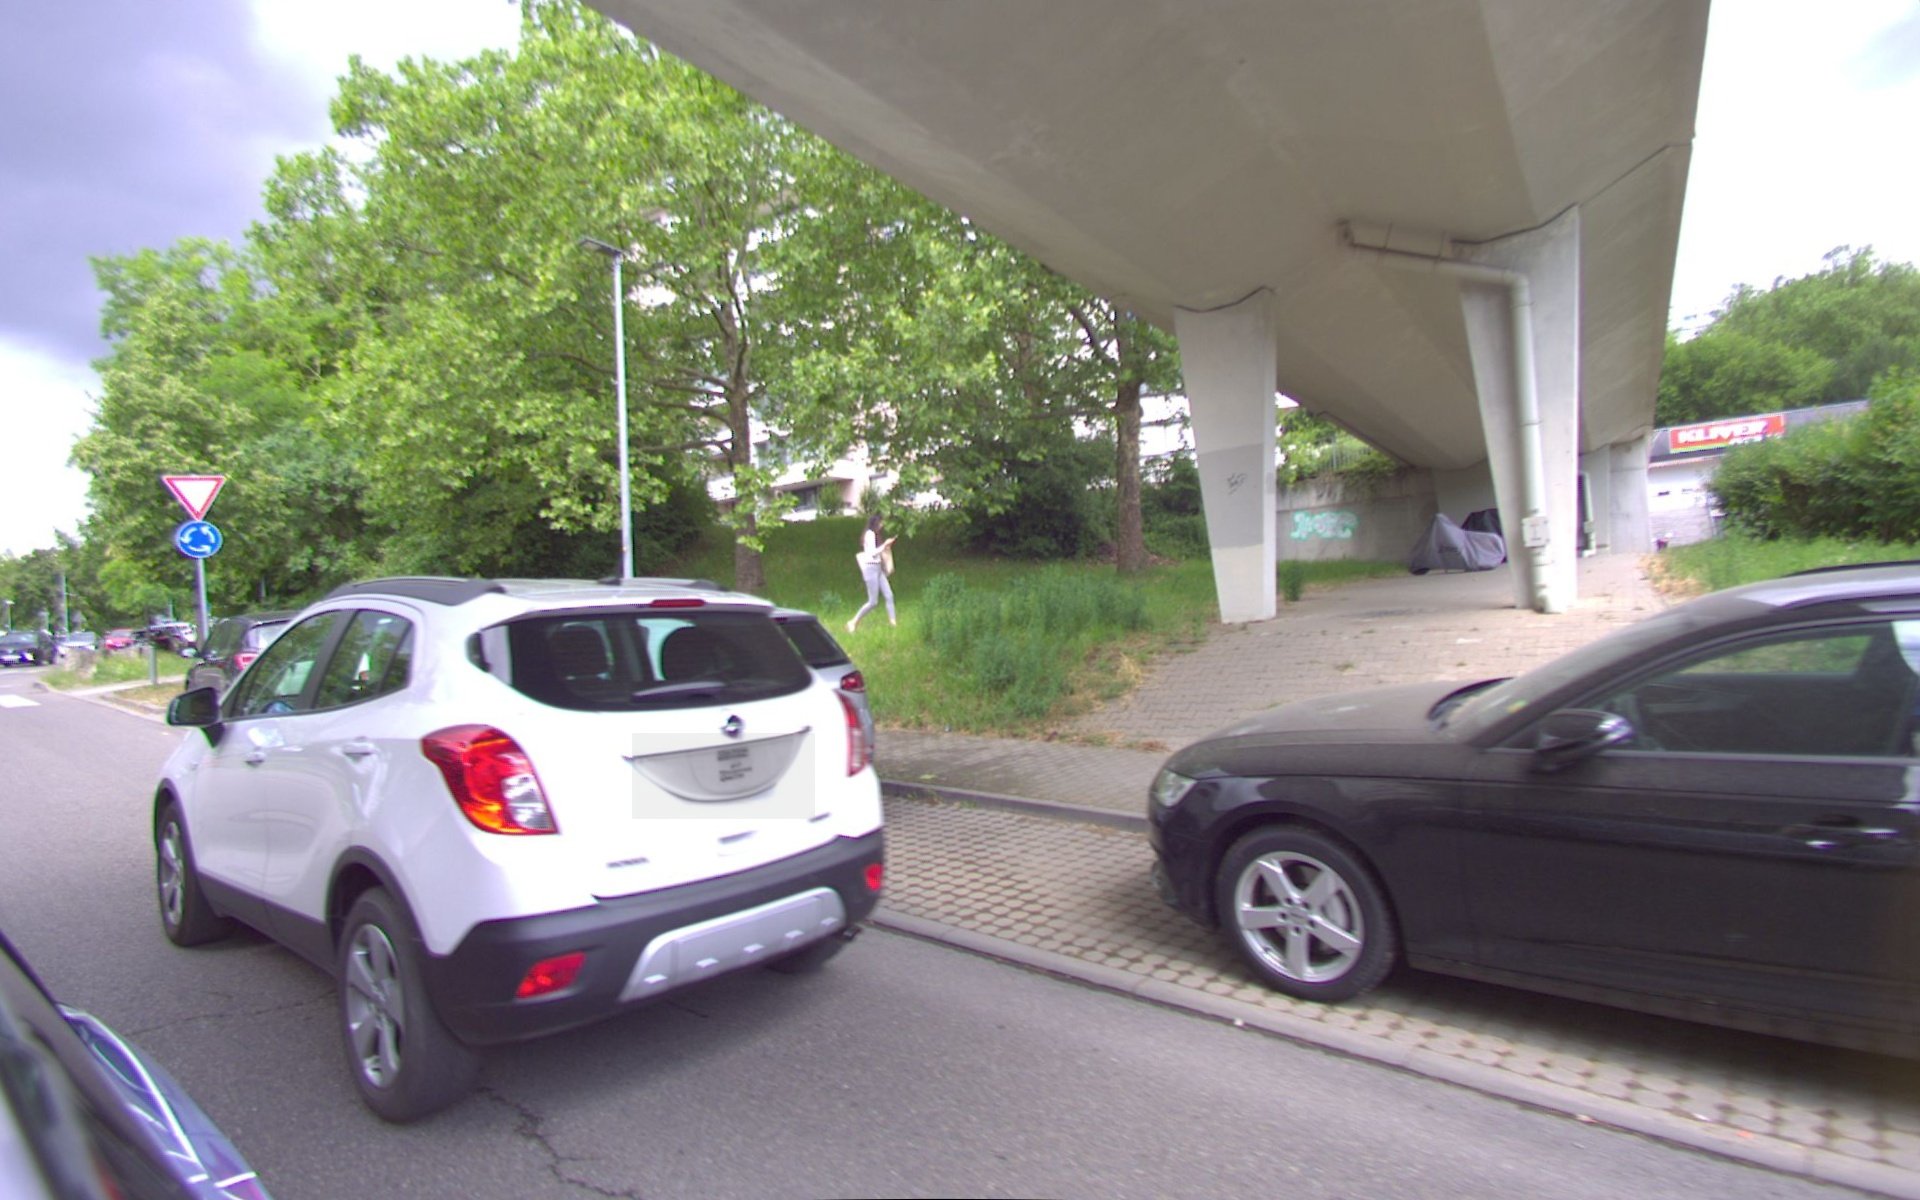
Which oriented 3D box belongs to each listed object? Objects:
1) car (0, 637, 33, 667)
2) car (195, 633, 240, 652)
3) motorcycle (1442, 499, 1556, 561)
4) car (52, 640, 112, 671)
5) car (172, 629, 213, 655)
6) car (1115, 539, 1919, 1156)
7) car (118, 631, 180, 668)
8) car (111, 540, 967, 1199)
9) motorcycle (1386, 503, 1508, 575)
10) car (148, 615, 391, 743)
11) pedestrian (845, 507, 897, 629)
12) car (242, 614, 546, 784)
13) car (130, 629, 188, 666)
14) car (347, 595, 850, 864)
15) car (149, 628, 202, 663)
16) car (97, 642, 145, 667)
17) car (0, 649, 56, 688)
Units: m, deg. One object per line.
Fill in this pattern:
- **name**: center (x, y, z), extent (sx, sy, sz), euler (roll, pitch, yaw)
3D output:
- **car**: center (-57.147, 3.100, 59.467), extent (3.619, 1.659, 1.857), euler (-1, -1, -30)
- **car**: center (-73.892, 4.243, 100.729), extent (3.971, 1.652, 1.661), euler (-4, -1, 21)
- **motorcycle**: center (13.195, -1.688, 24.803), extent (2.312, 1.280, 0.875), euler (-4, -1, 37)
- **car**: center (-52.386, 3.273, 60.438), extent (1.730, 1.628, 4.013), euler (-3, 0, -27)
- **car**: center (-50.153, 2.739, 66.195), extent (1.667, 1.498, 3.964), euler (-6, 1, -32)
- **car**: center (2.929, 0.579, 3.210), extent (4.445, 1.520, 1.867), euler (-2, 1, 38)
- **car**: center (-38.361, 2.320, 47.980), extent (1.667, 1.475, 4.469), euler (-6, 1, -32)
- **car**: center (-2.081, 0.734, 4.312), extent (4.049, 1.623, 1.730), euler (-3, -1, 41)
- **motorcycle**: center (9.937, -1.221, 20.745), extent (0.871, 1.280, 2.052), euler (-3, -1, -31)
- **car**: center (-9.838, 0.996, 14.321), extent (3.996, 1.479, 1.769), euler (0, 1, 39)
- **pedestrian**: center (-1.322, -0.466, 15.050), extent (0.650, 1.734, 0.740), euler (-3, -1, -5)
- **car**: center (-6.340, 0.939, 11.201), extent (3.546, 1.471, 1.865), euler (-1, 2, 42)
- **car**: center (-41.530, 2.408, 52.566), extent (1.775, 1.627, 4.491), euler (-6, 2, -32)
- **car**: center (-2.902, 0.816, 7.668), extent (3.999, 1.438, 1.865), euler (-4, -1, 42)
- **car**: center (-44.244, 2.557, 57.148), extent (1.783, 1.676, 4.449), euler (-6, 1, -32)
- **car**: center (-59.998, 3.886, 72.412), extent (1.730, 1.628, 4.013), euler (-3, 0, -27)
- **car**: center (-43.327, 3.140, 46.464), extent (1.730, 1.628, 4.013), euler (-3, 0, -27)
